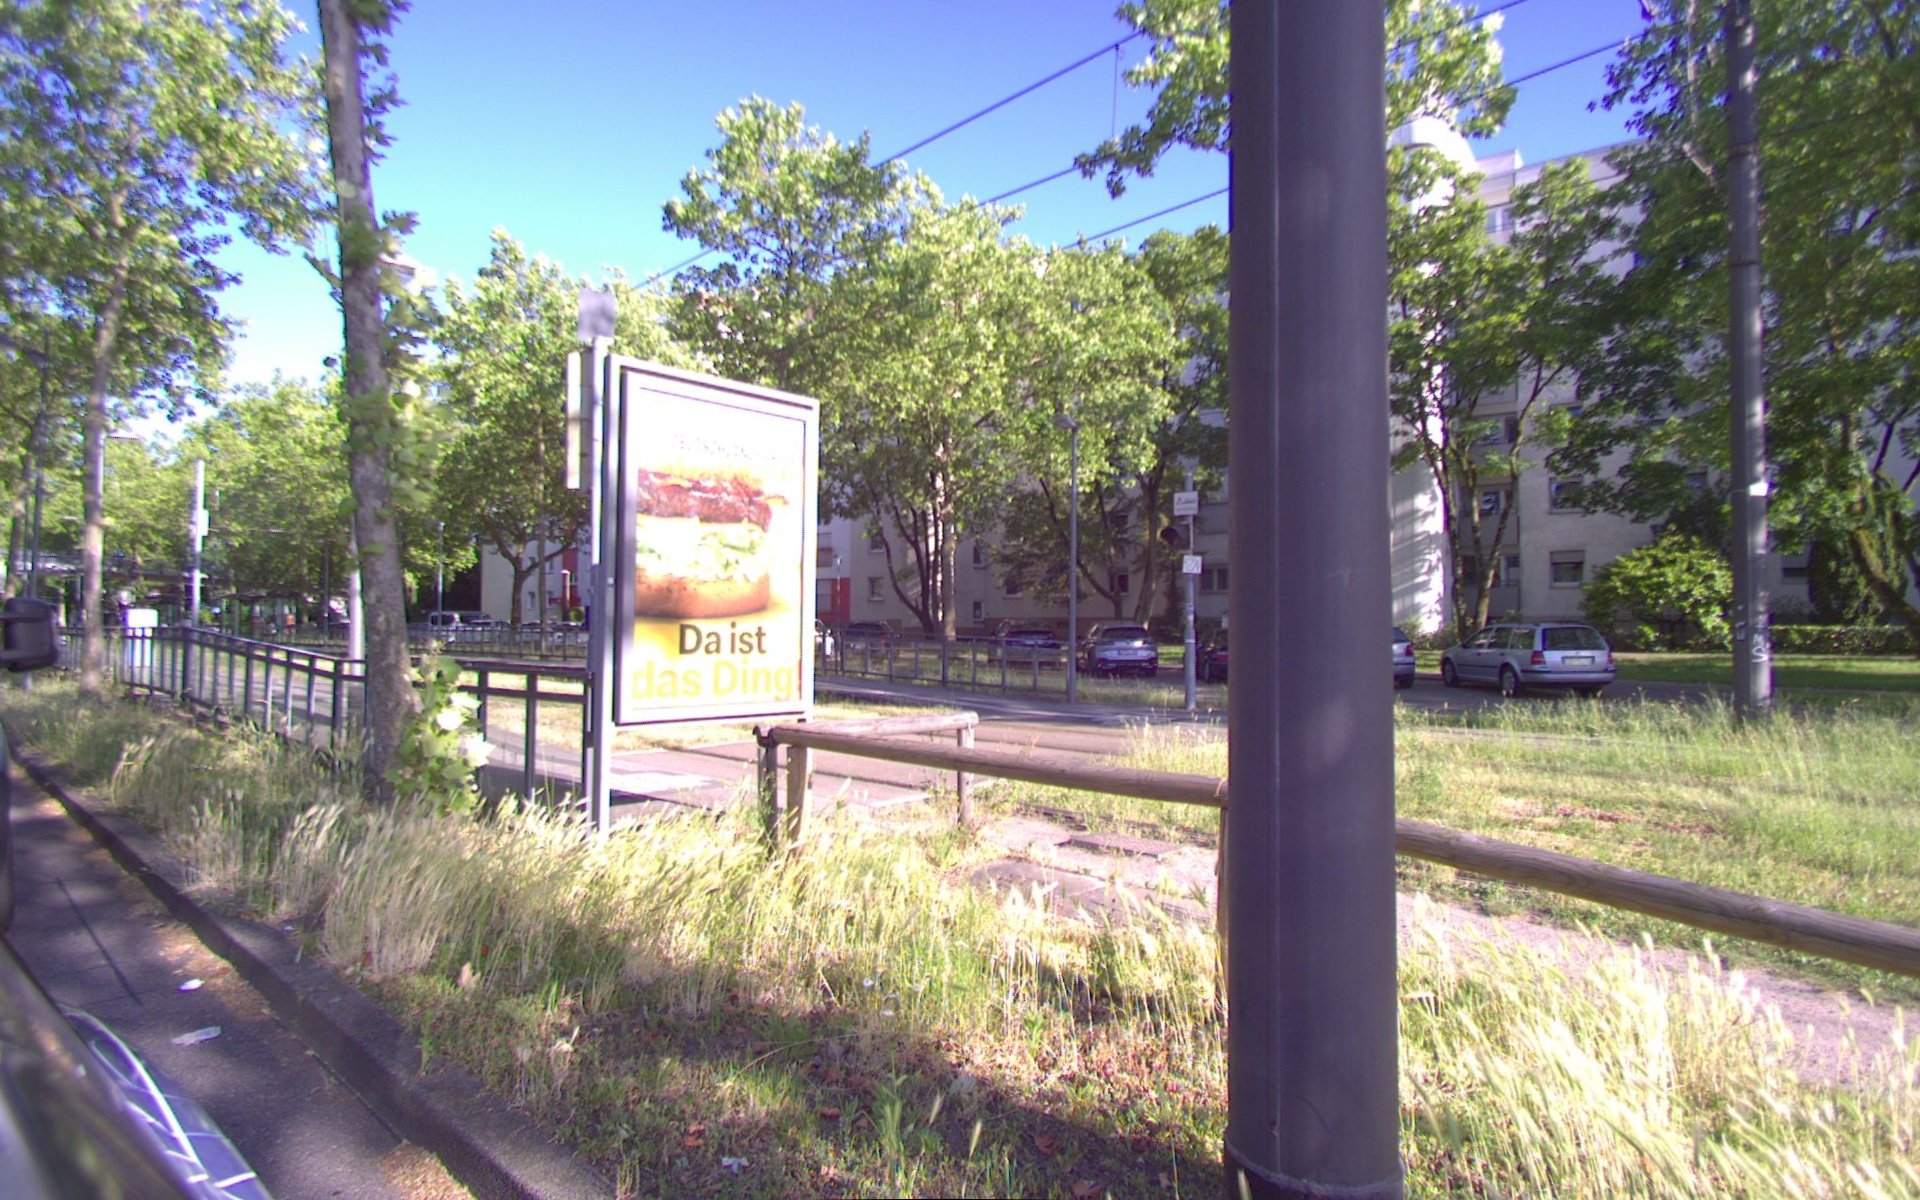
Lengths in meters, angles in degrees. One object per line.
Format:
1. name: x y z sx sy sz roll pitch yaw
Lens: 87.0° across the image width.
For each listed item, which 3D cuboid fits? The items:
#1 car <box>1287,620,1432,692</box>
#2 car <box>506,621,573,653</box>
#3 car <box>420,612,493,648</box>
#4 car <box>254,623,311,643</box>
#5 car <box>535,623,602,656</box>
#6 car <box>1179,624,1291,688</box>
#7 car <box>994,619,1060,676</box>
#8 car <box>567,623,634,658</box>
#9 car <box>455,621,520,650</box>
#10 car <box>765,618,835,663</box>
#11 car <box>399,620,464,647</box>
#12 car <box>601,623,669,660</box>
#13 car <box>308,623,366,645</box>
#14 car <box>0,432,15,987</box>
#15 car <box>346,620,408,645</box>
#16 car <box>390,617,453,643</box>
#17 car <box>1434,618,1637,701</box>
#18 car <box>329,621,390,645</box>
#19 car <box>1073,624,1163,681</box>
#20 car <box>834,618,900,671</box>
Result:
1. car: 9.207 1.229 23.687 1.740 1.498 4.049 -1 -1 0
2. car: -21.252 1.827 51.303 1.770 1.510 4.050 -1 -1 -1
3. car: -28.431 1.670 57.309 1.993 1.934 4.433 -1 -1 -1
4. car: -53.058 2.552 79.327 1.770 1.510 4.050 -1 -1 -1
5. car: -19.113 1.911 49.602 1.770 1.510 4.050 -1 -1 -1
6. car: 6.748 1.337 25.274 1.654 1.398 4.049 -1 -1 0
7. car: 1.900 1.346 29.757 1.771 1.510 4.047 -1 -1 2
8. car: -16.781 1.851 47.379 1.770 1.510 4.050 -1 -1 -1
9. car: -25.972 1.930 55.745 1.770 1.510 4.050 -1 -1 -1
10. car: -5.797 1.439 37.078 1.771 1.510 4.047 -1 -1 2
11. car: -30.948 1.949 59.433 1.770 1.510 4.050 -1 -1 -1
12. car: -14.226 1.798 44.494 1.770 1.510 4.050 -1 -1 -1
13. car: -44.692 2.440 72.728 1.770 1.510 4.050 -1 -1 -1
14. car: -6.599 0.464 5.176 5.659 2.221 2.013 -1 -2 41
15. car: -37.621 2.103 65.449 1.770 1.510 4.050 -1 -1 -1
16. car: -33.013 1.810 62.169 1.770 1.510 4.050 -1 -1 -1
17. car: 11.586 1.142 20.743 1.789 1.498 4.049 -1 -1 0
18. car: -40.131 2.173 67.707 1.770 1.510 4.050 -1 -1 -1
19. car: 4.234 1.374 27.708 1.770 1.398 4.049 -1 -1 0
20. car: -3.123 1.490 34.812 1.771 1.676 4.047 -1 -1 2
